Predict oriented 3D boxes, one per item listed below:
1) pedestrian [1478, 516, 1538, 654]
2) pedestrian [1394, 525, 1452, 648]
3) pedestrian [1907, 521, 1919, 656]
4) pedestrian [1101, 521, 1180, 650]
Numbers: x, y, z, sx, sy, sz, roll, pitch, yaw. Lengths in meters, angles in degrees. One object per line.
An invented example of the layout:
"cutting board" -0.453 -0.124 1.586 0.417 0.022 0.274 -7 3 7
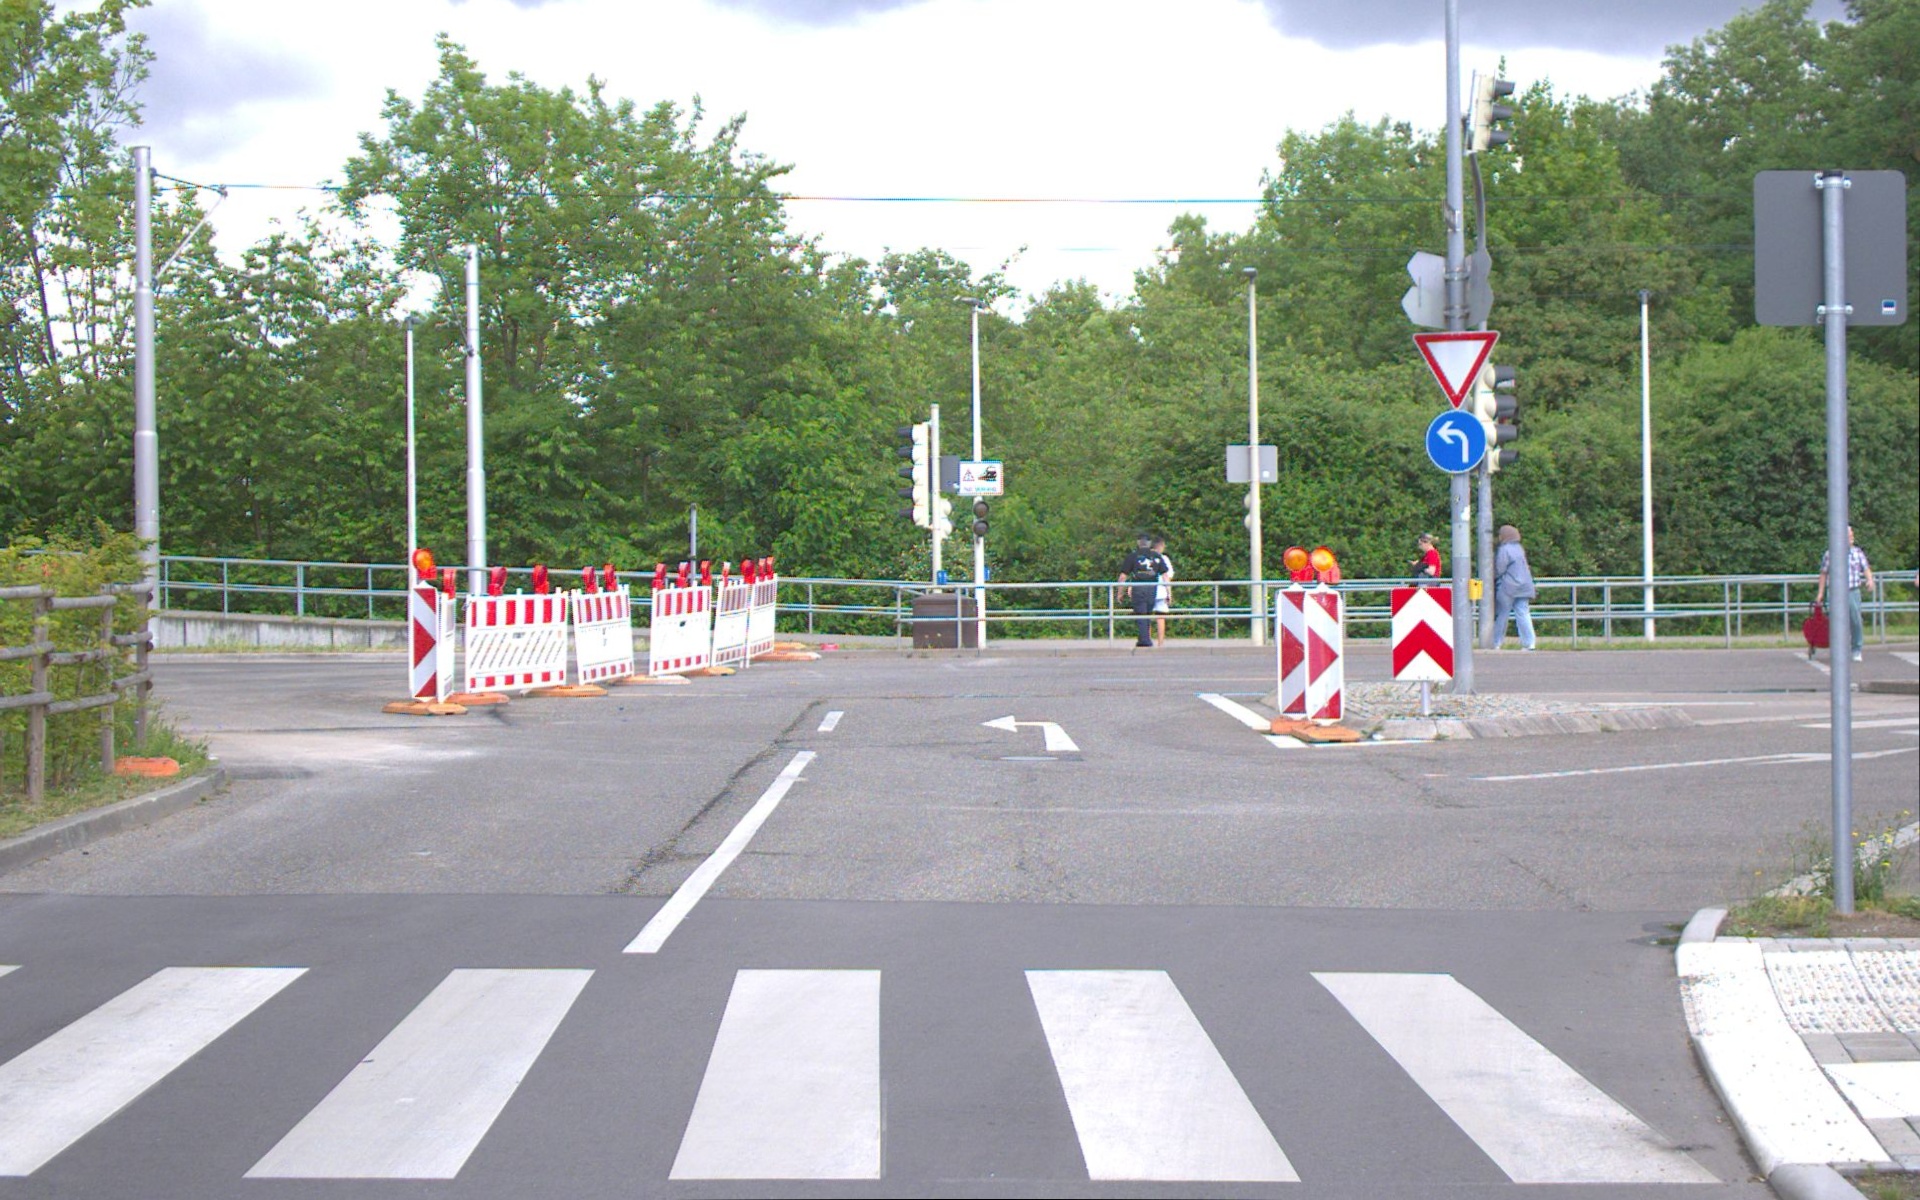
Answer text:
"pedestrian" 6.996 -0.199 43.867 0.720 1.742 0.957 0 1 11
"pedestrian" 6.125 -0.181 45.475 0.720 1.616 0.805 0 1 11
"pedestrian" 11.461 -0.142 39.997 0.691 1.561 0.731 0 1 30
"pedestrian" 2.451 -0.202 46.830 0.954 1.742 0.723 0 1 -7
